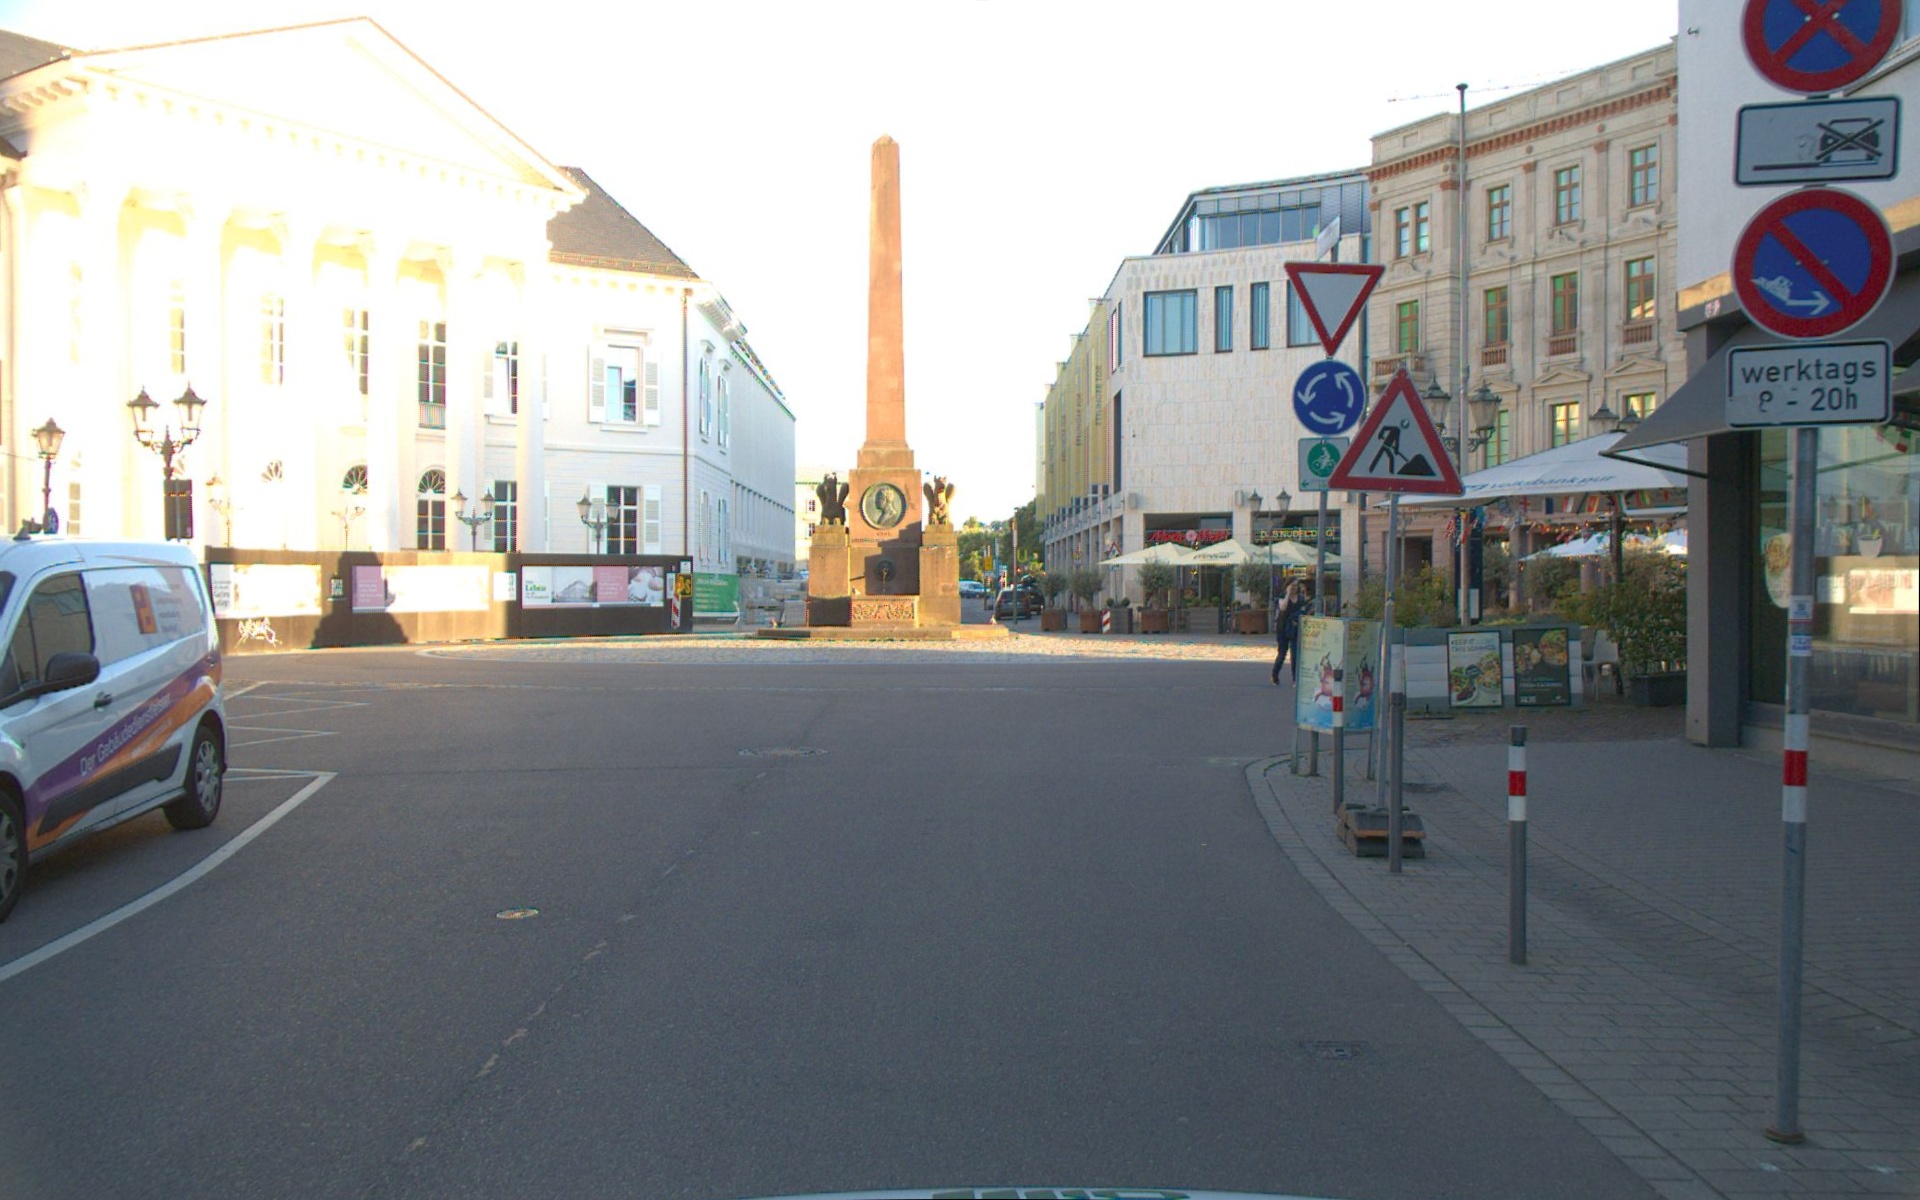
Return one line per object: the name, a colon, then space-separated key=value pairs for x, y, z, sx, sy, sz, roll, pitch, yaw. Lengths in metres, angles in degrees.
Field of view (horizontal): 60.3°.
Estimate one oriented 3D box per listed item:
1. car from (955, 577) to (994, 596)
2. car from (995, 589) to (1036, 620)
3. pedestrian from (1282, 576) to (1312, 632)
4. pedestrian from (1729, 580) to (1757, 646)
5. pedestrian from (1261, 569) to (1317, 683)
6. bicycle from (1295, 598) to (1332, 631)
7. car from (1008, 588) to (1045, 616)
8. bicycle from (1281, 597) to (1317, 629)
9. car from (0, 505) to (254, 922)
car: x=1.644 y=-1.534 z=184.131 sx=3.920 sy=2.049 sz=1.992 roll=0 pitch=1 yaw=36
car: x=2.728 y=0.187 z=82.273 sx=1.952 sy=1.489 sz=4.001 roll=0 pitch=0 yaw=1
pedestrian: x=10.824 y=0.125 z=53.182 sx=0.885 sy=1.759 sz=0.850 roll=0 pitch=0 yaw=8
pedestrian: x=18.100 y=0.292 z=38.227 sx=0.517 sy=1.504 sz=0.563 roll=0 pitch=0 yaw=18
pedestrian: x=4.875 y=0.377 z=24.543 sx=0.676 sy=1.676 sz=0.695 roll=0 pitch=0 yaw=-1
bicycle: x=11.583 y=0.454 z=54.109 sx=0.608 sy=1.049 sz=1.640 roll=0 pitch=0 yaw=35
car: x=3.616 y=0.076 z=90.753 sx=1.952 sy=1.489 sz=4.001 roll=0 pitch=0 yaw=1
bicycle: x=11.201 y=0.425 z=54.651 sx=0.589 sy=1.049 sz=1.640 roll=0 pitch=0 yaw=35
car: x=-5.401 y=0.486 z=8.585 sx=1.956 sy=1.847 sz=4.776 roll=0 pitch=1 yaw=-7
